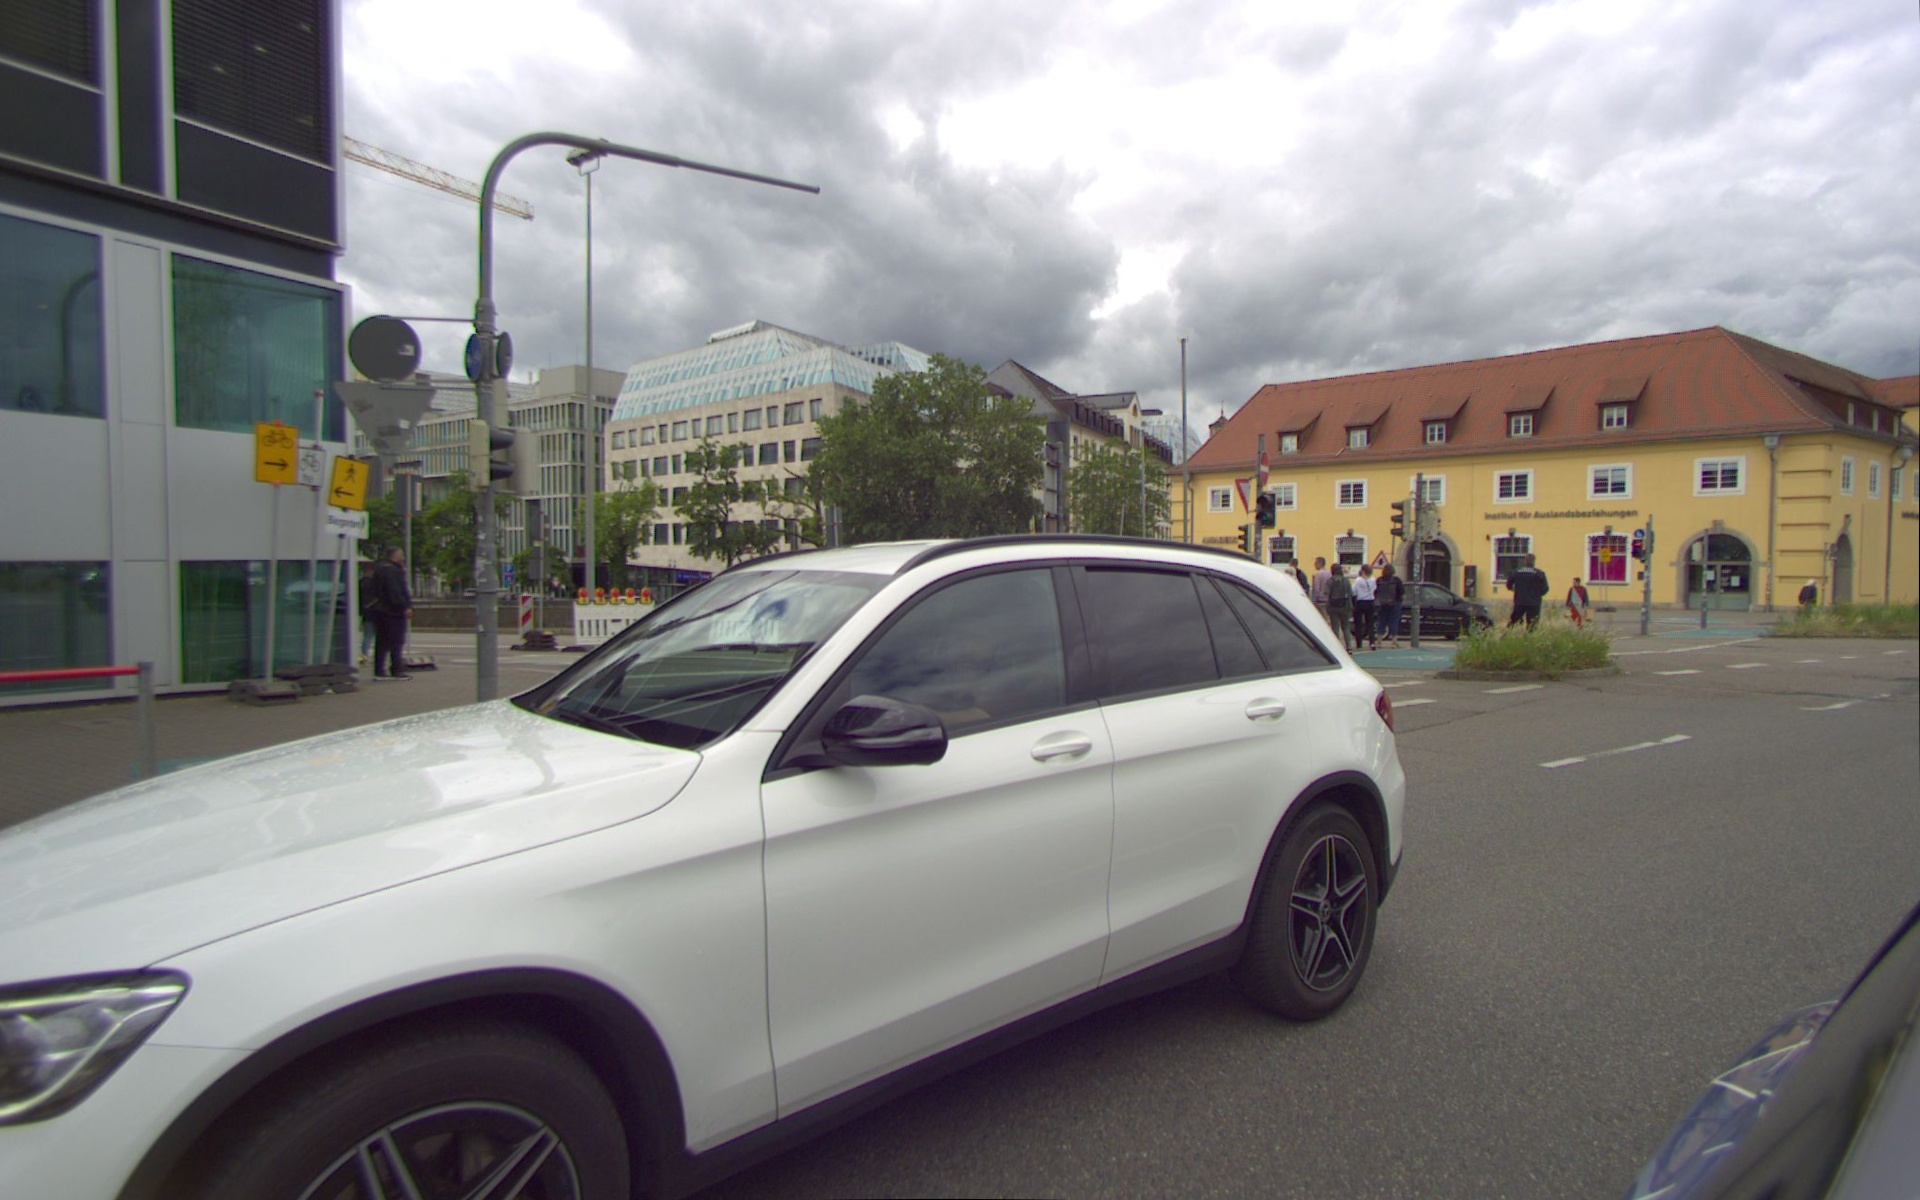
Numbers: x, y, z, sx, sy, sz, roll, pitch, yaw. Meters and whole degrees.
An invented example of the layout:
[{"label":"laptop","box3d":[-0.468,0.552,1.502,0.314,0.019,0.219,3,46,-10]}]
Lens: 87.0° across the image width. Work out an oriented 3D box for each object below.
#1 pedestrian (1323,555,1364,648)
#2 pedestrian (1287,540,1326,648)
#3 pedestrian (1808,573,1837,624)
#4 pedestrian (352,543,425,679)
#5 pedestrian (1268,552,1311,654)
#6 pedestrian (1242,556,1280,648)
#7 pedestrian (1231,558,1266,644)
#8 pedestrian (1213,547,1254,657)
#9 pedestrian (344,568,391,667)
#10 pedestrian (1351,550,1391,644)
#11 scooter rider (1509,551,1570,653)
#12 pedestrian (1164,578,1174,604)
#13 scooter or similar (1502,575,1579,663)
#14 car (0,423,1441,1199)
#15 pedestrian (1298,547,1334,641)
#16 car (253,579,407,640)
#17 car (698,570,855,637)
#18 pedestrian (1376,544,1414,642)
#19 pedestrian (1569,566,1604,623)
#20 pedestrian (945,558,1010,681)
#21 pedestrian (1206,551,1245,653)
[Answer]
[{"label":"pedestrian","box3d":[7.192,0.023,18.997,0.601,1.717,0.641,0,1,11]},{"label":"pedestrian","box3d":[6.481,-0.116,18.951,0.601,1.989,0.641,0,1,11]},{"label":"pedestrian","box3d":[32.747,-0.059,38.426,0.632,1.918,0.554,2,1,23]},{"label":"pedestrian","box3d":[-7.650,0.133,13.556,0.583,1.770,0.633,1,1,18]},{"label":"pedestrian","box3d":[5.905,0.037,18.153,0.659,1.783,0.761,0,1,13]},{"label":"pedestrian","box3d":[5.704,0.028,19.209,0.601,1.717,0.641,0,1,11]},{"label":"pedestrian","box3d":[5.821,0.008,20.456,0.601,1.717,0.641,0,1,11]},{"label":"pedestrian","box3d":[4.805,0.027,17.815,0.659,1.886,0.700,0,1,13]},{"label":"pedestrian","box3d":[-10.446,0.288,17.828,0.626,1.699,0.590,0,1,-40]},{"label":"pedestrian","box3d":[8.097,-0.072,19.970,0.601,1.819,0.641,0,1,11]},{"label":"scooter rider","box3d":[9.954,0.021,17.419,0.756,1.715,0.742,1,1,19]},{"label":"pedestrian","box3d":[13.063,-0.577,63.266,0.483,1.610,0.554,1,1,4]},{"label":"scooter or similar","box3d":[9.954,0.293,17.420,0.766,1.424,1.877,1,1,18]},{"label":"car","box3d":[-0.464,0.556,3.097,4.256,1.666,1.807,0,3,-39]},{"label":"pedestrian","box3d":[7.403,-0.134,21.061,0.601,1.934,0.641,0,1,11]},{"label":"car","box3d":[-18.764,0.241,30.155,3.953,1.693,1.986,0,1,22]},{"label":"car","box3d":[-4.584,0.057,25.614,3.732,1.595,2.003,1,2,-8]},{"label":"pedestrian","box3d":[8.898,-0.153,20.735,0.602,1.979,0.640,0,1,14]},{"label":"pedestrian","box3d":[19.960,-0.187,32.234,0.824,1.811,0.741,1,1,42]},{"label":"pedestrian","box3d":[0.256,0.259,14.548,0.791,1.719,0.545,1,1,17]},{"label":"pedestrian","box3d":[4.866,0.028,18.574,0.659,1.838,0.700,0,1,13]}]
